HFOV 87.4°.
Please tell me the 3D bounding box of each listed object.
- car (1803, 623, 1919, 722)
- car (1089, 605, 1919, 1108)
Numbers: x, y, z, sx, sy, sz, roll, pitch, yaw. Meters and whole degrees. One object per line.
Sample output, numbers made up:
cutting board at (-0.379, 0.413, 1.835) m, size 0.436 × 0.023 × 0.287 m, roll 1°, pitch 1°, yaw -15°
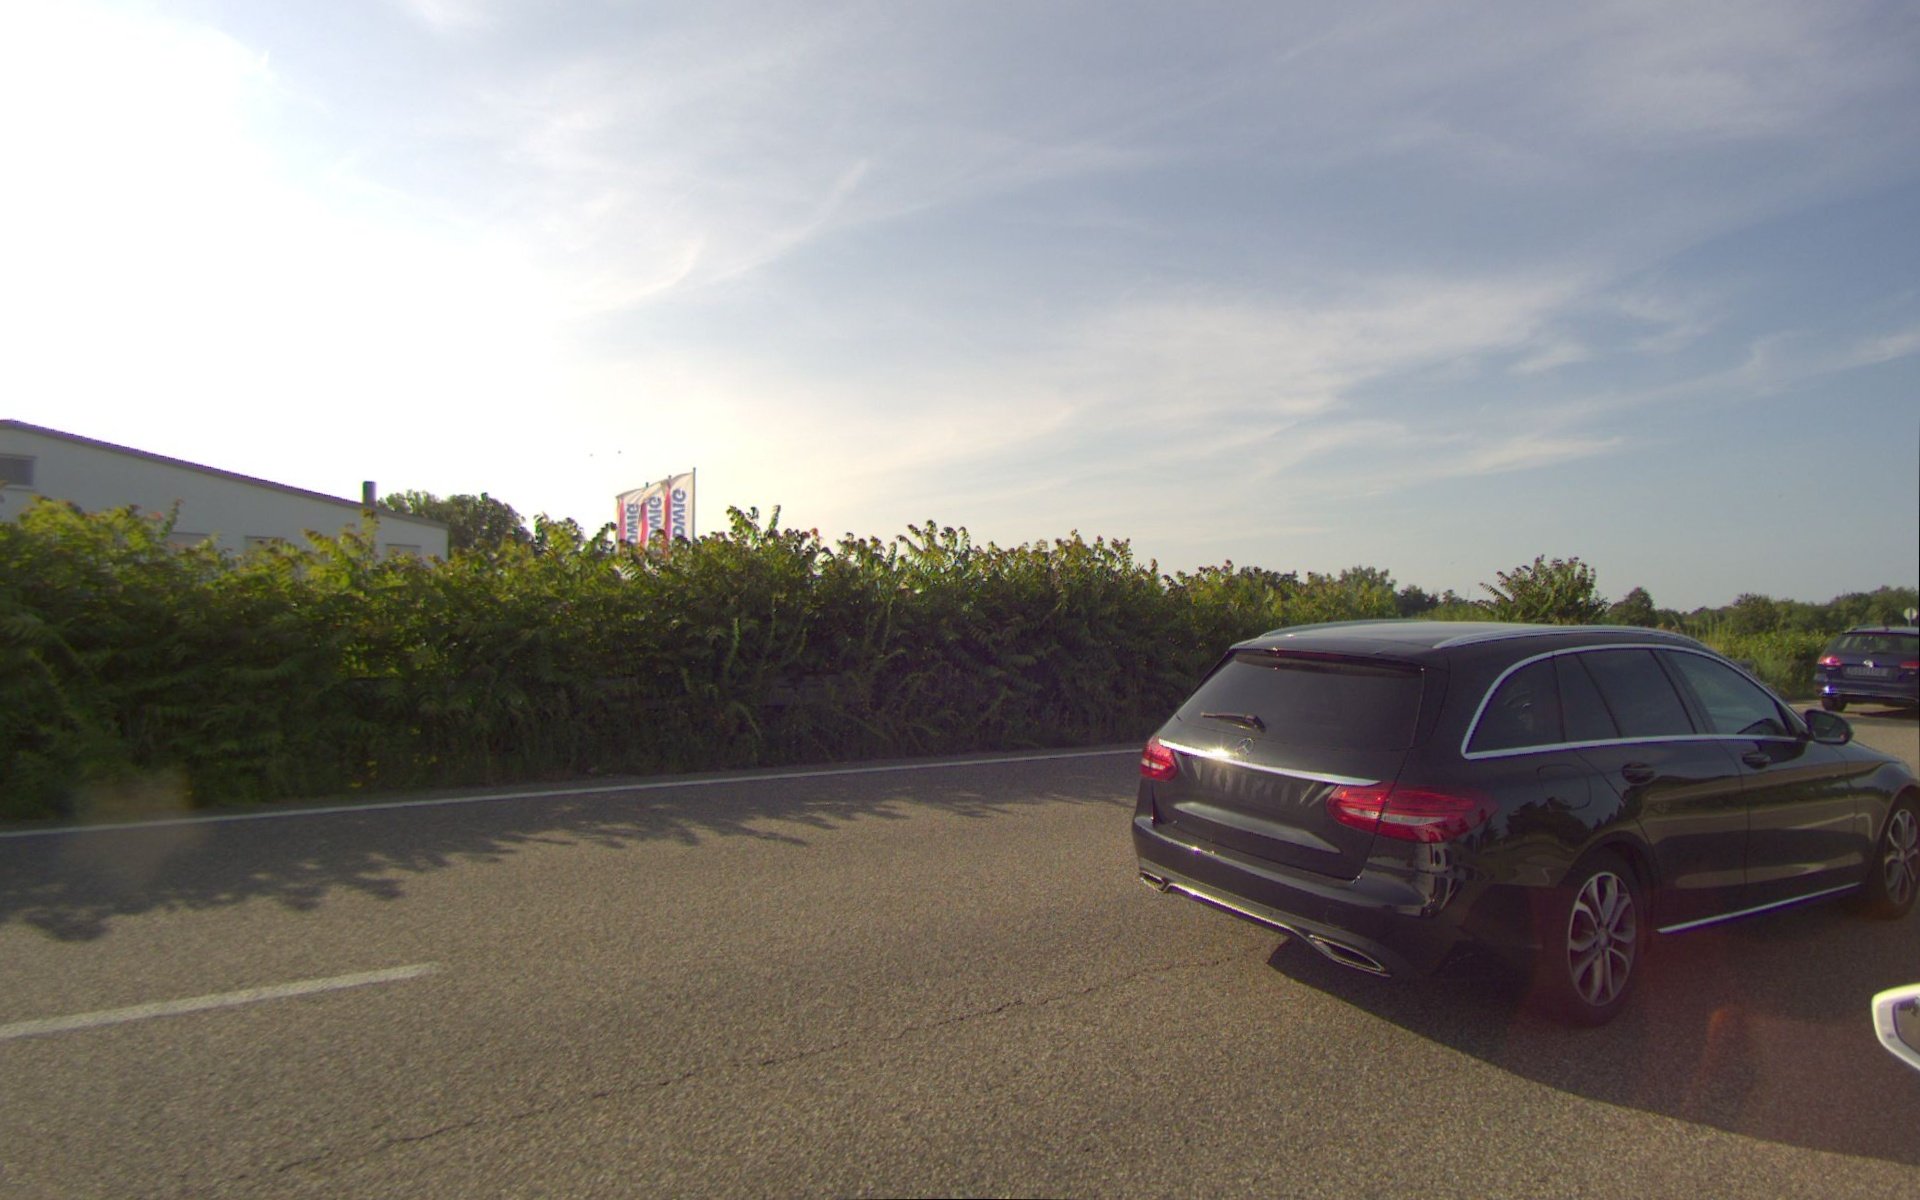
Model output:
car at (16.328, 1.161, 17.038) m, size 4.720 × 1.490 × 1.638 m, roll 1°, pitch -1°, yaw -30°
car at (3.090, 0.816, 4.918) m, size 4.963 × 1.490 × 1.565 m, roll 1°, pitch -1°, yaw -30°
